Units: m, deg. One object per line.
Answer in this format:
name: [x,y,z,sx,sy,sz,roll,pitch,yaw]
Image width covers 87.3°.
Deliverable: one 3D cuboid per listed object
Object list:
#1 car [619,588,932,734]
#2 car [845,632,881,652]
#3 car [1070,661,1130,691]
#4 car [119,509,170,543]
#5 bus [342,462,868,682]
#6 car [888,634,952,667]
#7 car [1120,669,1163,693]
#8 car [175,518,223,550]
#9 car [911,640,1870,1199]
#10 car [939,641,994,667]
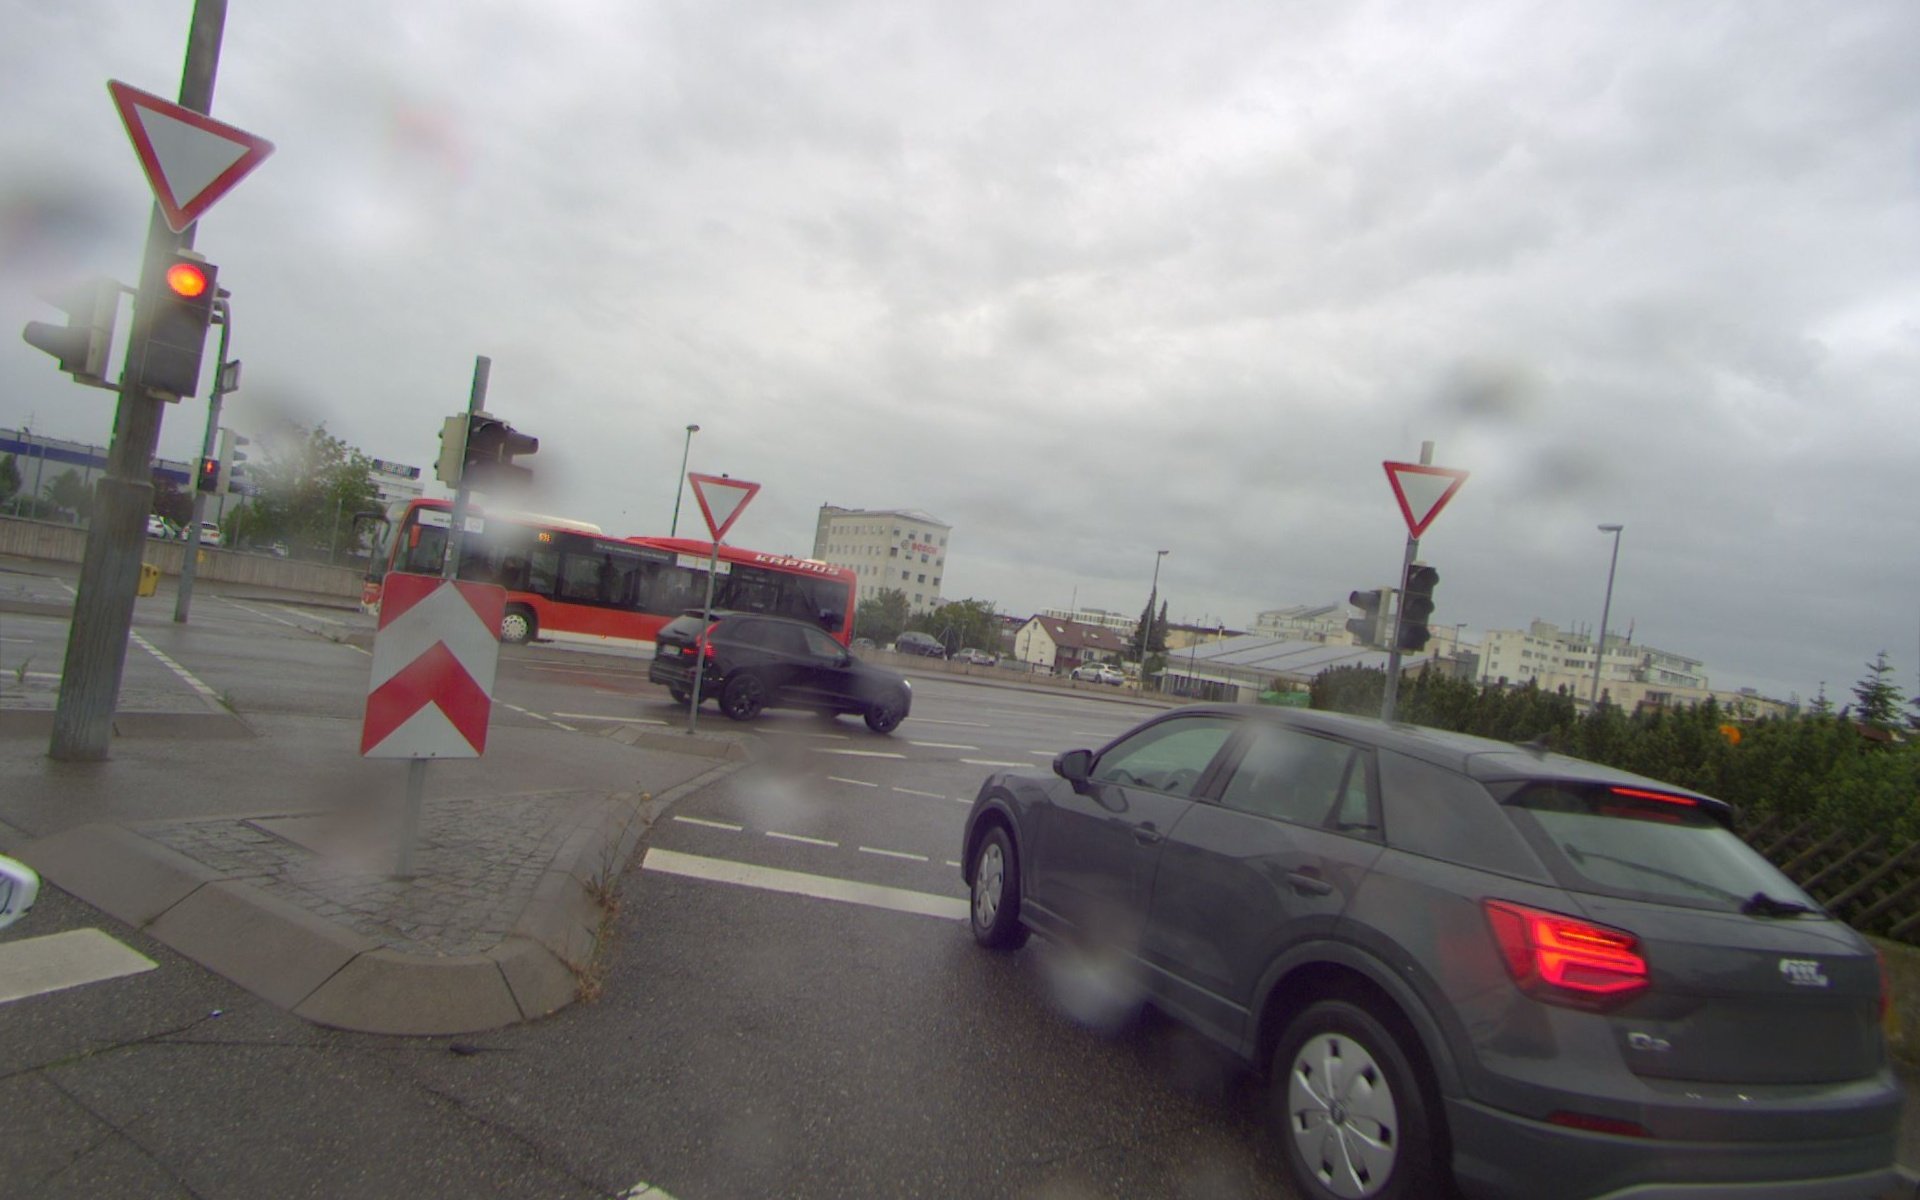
car: [-2.948,1.077,16.752,4.608,1.697,2.010,12,-4,-42]
car: [-9.716,4.216,100.526,1.979,1.494,3.971,9,-2,-29]
car: [9.722,5.258,70.053,1.979,1.494,3.971,9,-2,-29]
car: [-45.629,-4.134,56.358,1.985,1.495,3.959,10,-2,-38]
bus: [-8.381,-0.347,25.904,12.245,3.357,3.039,12,-3,-41]
car: [-2.487,3.093,61.955,1.983,1.494,3.964,10,-2,-34]
car: [18.064,8.032,100.028,3.760,1.771,1.887,9,-2,-29]
car: [-43.910,-3.808,58.026,1.986,1.495,3.958,10,-2,-38]
car: [1.320,1.163,4.704,1.668,1.512,3.919,9,-2,-23]
car: [0.529,4.377,82.225,3.951,1.494,1.989,9,-2,-24]
